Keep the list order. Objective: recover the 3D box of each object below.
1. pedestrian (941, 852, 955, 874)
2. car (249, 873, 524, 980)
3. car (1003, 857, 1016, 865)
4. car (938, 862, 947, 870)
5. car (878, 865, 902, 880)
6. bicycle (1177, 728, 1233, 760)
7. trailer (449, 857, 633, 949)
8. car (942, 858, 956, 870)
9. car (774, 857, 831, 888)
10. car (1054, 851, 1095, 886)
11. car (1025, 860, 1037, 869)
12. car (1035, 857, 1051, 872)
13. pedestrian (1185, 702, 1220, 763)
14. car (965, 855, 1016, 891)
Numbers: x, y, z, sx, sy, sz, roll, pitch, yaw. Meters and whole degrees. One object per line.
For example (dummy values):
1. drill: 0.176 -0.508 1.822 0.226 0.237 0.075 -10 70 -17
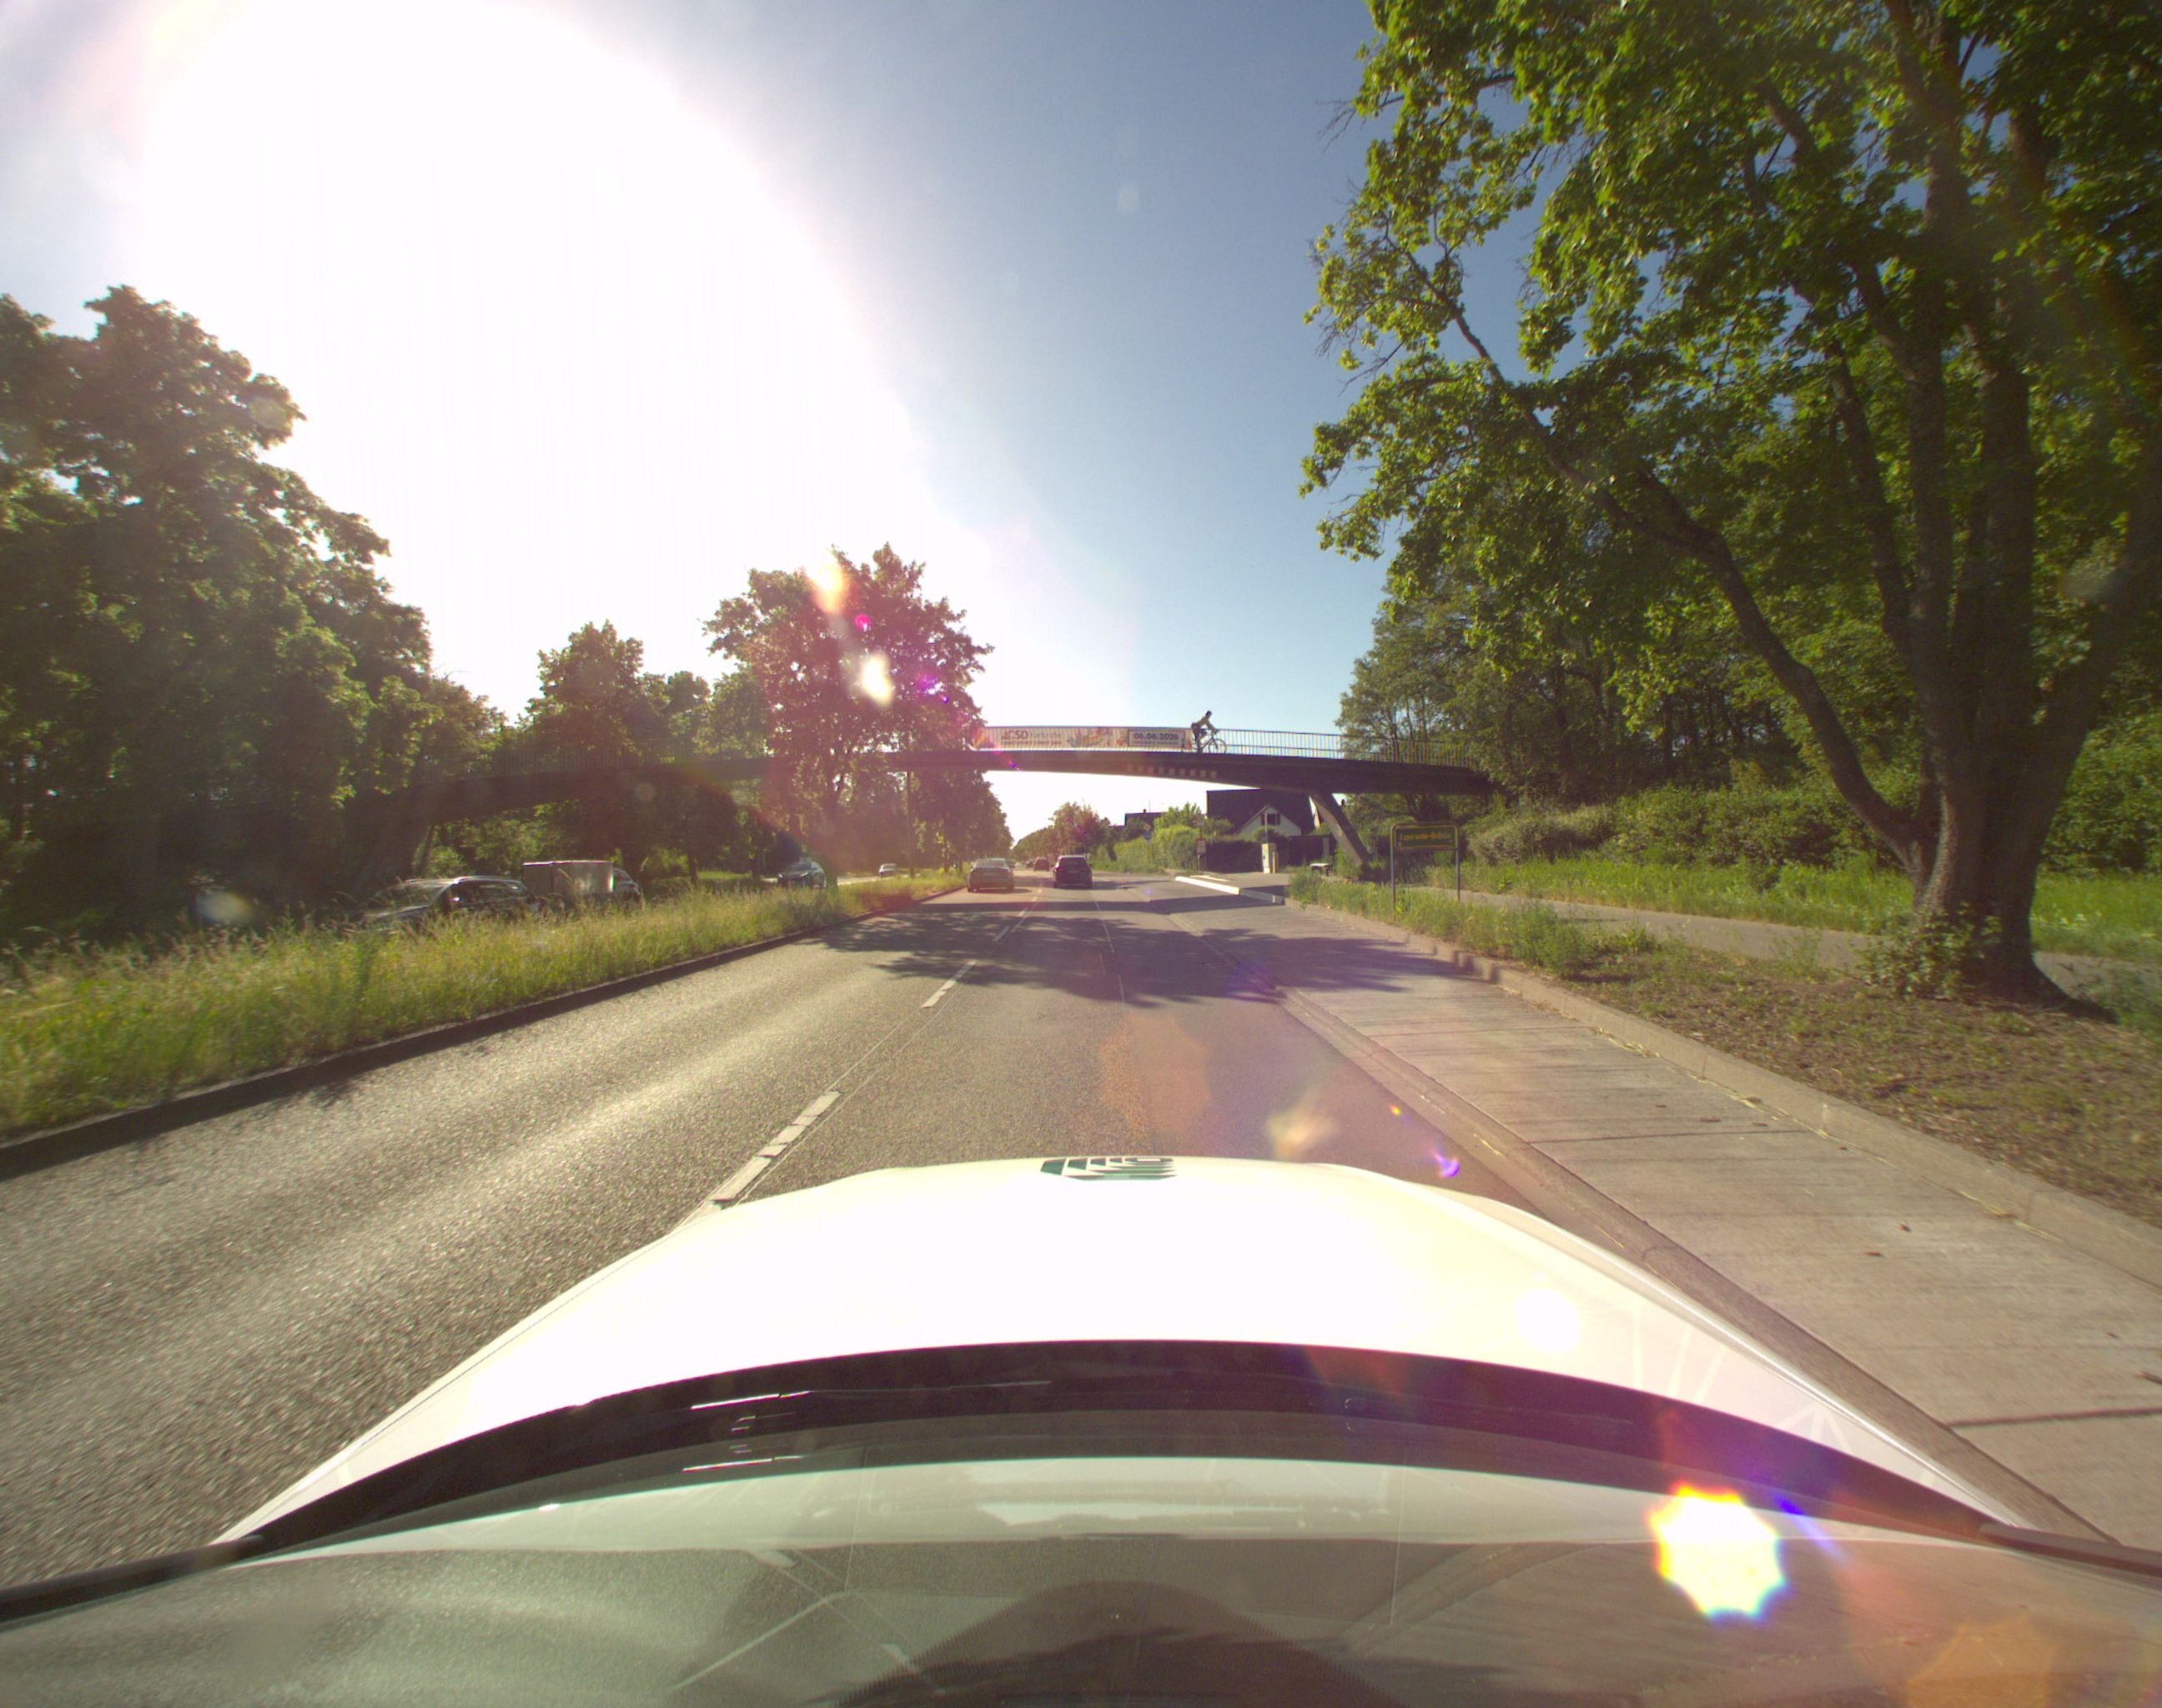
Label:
1. pedestrian: -10.048 0.675 61.535 0.625 1.696 0.948 -2 0 25
2. car: -12.862 1.252 15.483 1.690 1.582 4.025 -2 1 0
3. car: -12.914 1.254 147.393 1.978 1.440 3.987 -2 0 -9
4. car: -27.780 2.322 163.723 1.805 1.500 4.581 0 0 -9
5. car: -19.651 1.896 84.034 1.536 1.431 4.252 -3 0 -2
6. bicycle: 4.651 -4.120 30.636 1.984 1.107 0.727 0 0 -3
7. trailer: -12.802 1.063 19.663 1.558 1.910 4.281 -2 0 0
8. car: -19.878 1.470 122.489 1.728 1.632 4.189 -3 0 -5
9. car: -16.534 1.052 48.648 1.727 1.646 4.897 -3 0 -1
10. car: -0.337 0.660 37.470 1.756 1.559 3.997 0 -1 -2
11. car: -8.354 1.747 135.060 1.895 1.356 3.993 -2 0 -5
12. car: -4.418 1.193 94.386 1.740 1.597 4.169 -1 0 -4
13. pedestrian: 4.571 -4.544 30.649 1.063 2.123 0.996 -2 0 -3
14. car: -3.880 0.783 35.420 1.991 1.405 3.994 -1 0 -4
